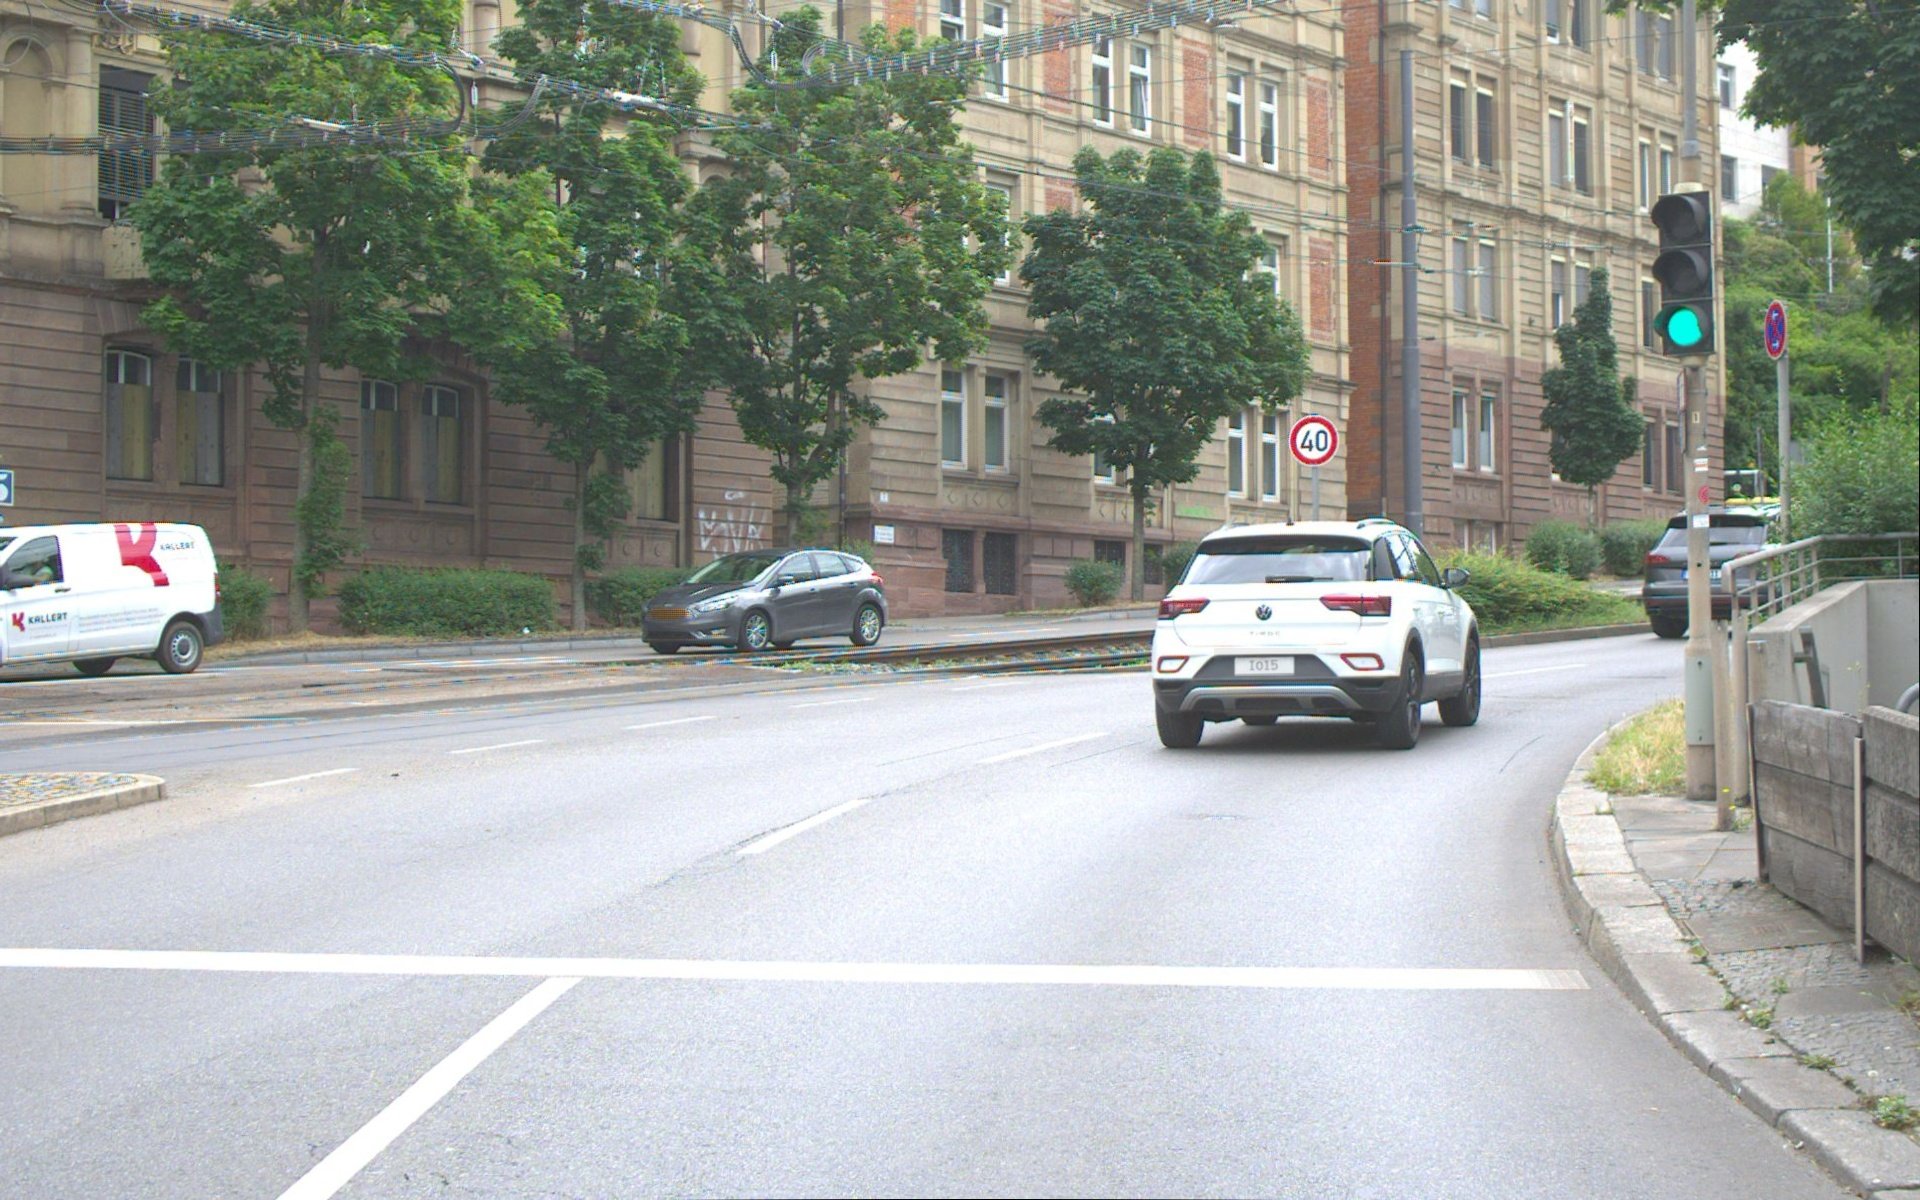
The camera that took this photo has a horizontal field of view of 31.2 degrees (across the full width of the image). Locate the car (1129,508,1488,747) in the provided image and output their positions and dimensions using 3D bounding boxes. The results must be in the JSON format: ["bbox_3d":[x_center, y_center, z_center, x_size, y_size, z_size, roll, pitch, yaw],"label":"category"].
[{"bbox_3d":[2.595,0.177,24.718,1.939,1.561,4.043,-1,0,15],"label":"car"}]

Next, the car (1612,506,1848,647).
[{"bbox_3d":[9.952,-0.325,44.243,1.842,1.734,3.993,0,1,30],"label":"car"}]

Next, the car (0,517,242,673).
[{"bbox_3d":[-11.397,-0.092,42.119,1.998,1.843,4.982,1,1,38],"label":"car"}]

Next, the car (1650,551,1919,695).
[{"bbox_3d":[9.783,0.270,40.266,1.907,1.568,3.826,2,0,36],"label":"car"}]

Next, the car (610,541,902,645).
[{"bbox_3d":[-2.877,-0.128,49.306,1.746,1.422,4.396,0,1,37],"label":"car"}]

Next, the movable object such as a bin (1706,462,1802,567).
[{"bbox_3d":[22.193,-2.375,96.091,1.997,2.828,2.026,-2,0,31],"label":"movable object such as a bin"}]
